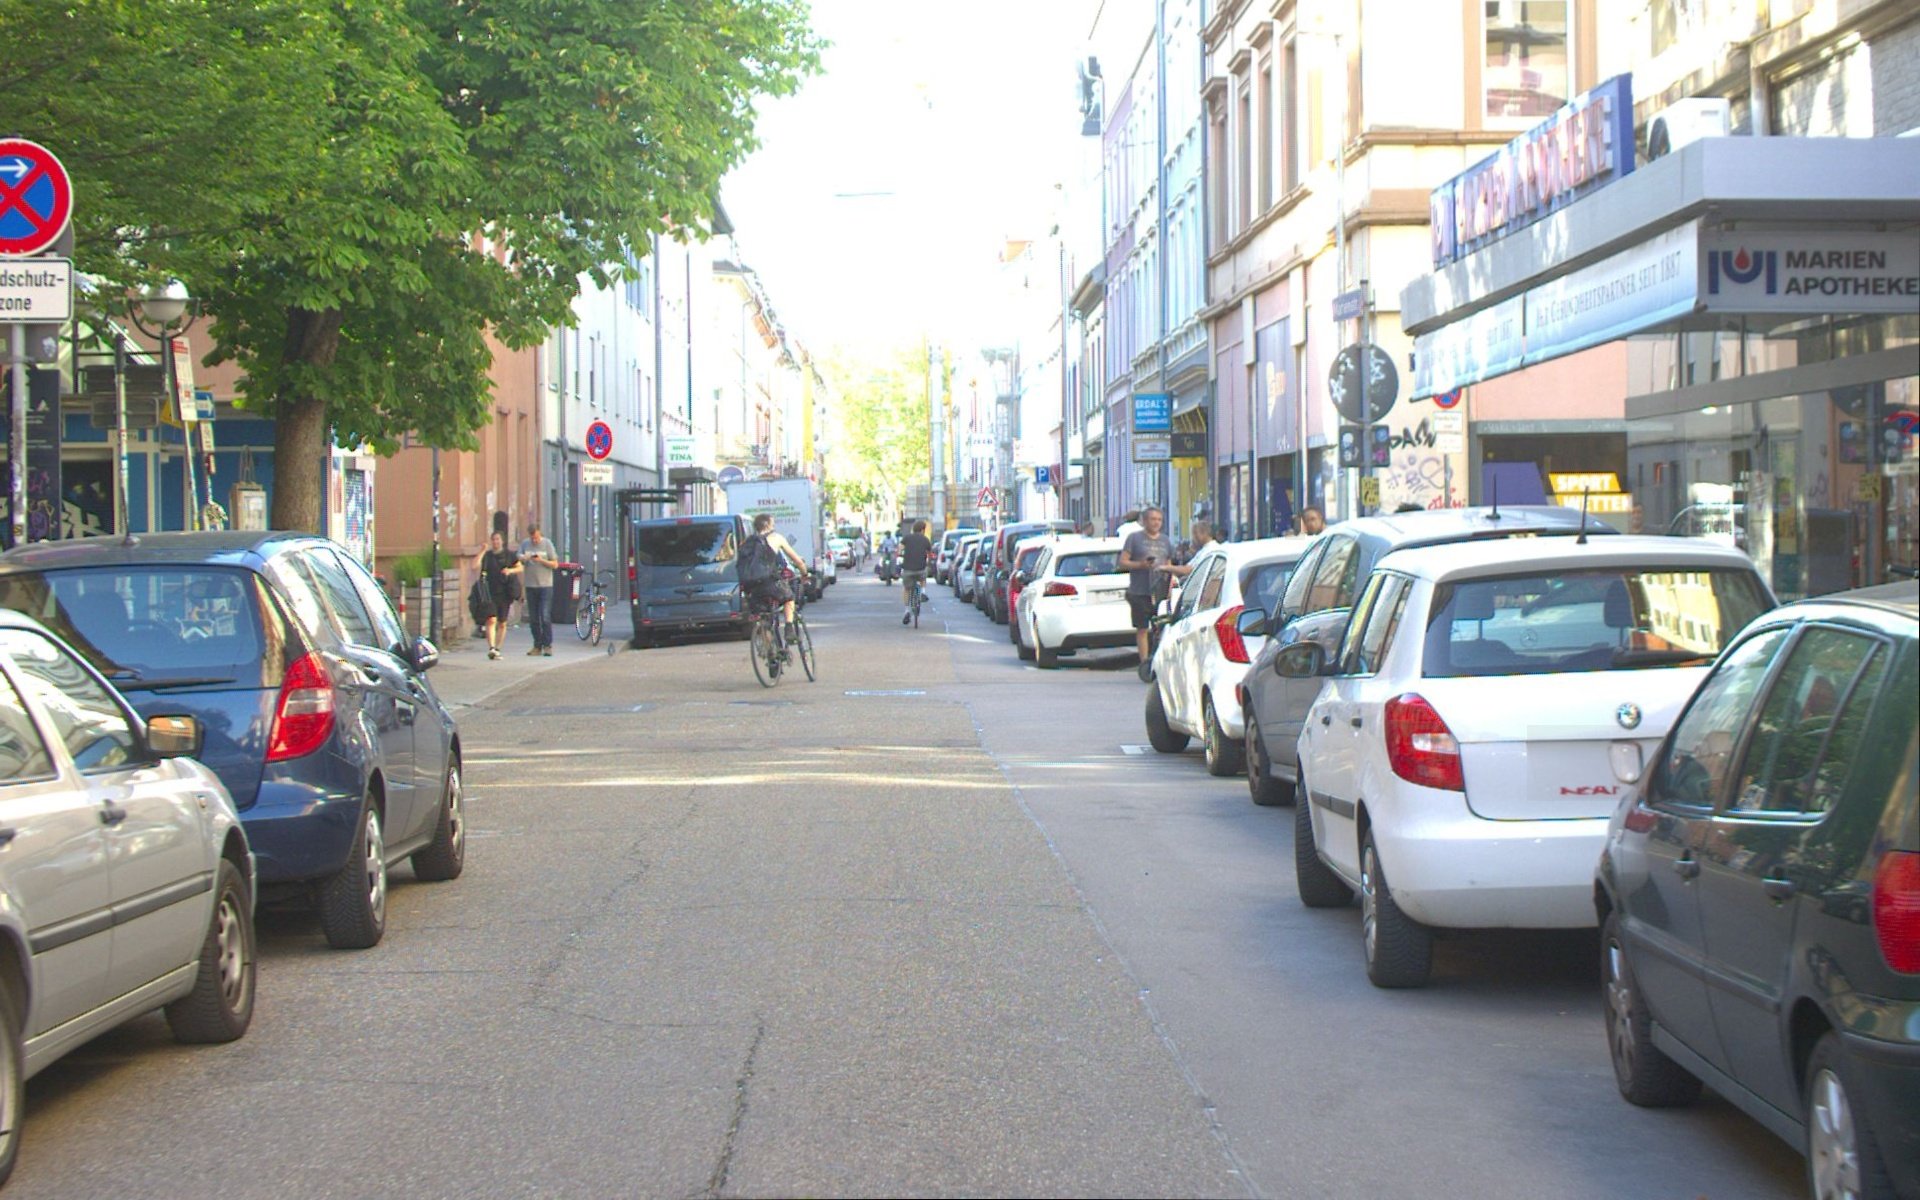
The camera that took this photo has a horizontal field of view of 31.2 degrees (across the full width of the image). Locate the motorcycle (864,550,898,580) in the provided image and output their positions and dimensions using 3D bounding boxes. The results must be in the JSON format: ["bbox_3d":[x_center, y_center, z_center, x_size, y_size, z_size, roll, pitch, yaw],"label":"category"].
[{"bbox_3d":[-2.628,-1.159,114.196,1.042,0.977,2.825,0,1,-3],"label":"motorcycle"}]

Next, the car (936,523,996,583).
[{"bbox_3d":[0.180,-1.611,117.717,1.993,2.007,4.000,0,1,-1],"label":"car"}]

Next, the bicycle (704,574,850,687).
[{"bbox_3d":[-1.867,0.299,35.394,0.766,1.106,1.945,0,1,21],"label":"bicycle"}]

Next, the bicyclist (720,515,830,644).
[{"bbox_3d":[-1.893,-0.221,35.304,0.756,1.302,1.061,0,1,21],"label":"bicyclist"}]

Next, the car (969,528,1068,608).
[{"bbox_3d":[1.246,-0.728,75.351,1.993,1.626,4.000,2,1,-1],"label":"car"}]

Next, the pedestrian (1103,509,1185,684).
[{"bbox_3d":[1.943,-0.043,36.346,0.681,1.837,0.695,0,1,-12],"label":"pedestrian"}]

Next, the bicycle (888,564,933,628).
[{"bbox_3d":[-0.835,-0.077,57.819,0.739,1.040,1.859,0,1,-1],"label":"bicycle"}]

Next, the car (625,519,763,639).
[{"bbox_3d":[-4.090,-0.356,53.371,1.875,1.790,4.000,0,1,-1],"label":"car"}]

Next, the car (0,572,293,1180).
[{"bbox_3d":[-3.033,0.686,9.217,1.570,1.393,3.808,-3,1,2],"label":"car"}]

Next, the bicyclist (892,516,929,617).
[{"bbox_3d":[-0.837,-0.564,57.775,0.605,1.682,0.885,0,1,-1],"label":"bicyclist"}]

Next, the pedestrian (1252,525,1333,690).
[{"bbox_3d":[3.343,0.068,34.552,0.542,1.637,0.607,-1,1,-41],"label":"pedestrian"}]

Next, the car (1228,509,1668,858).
[{"bbox_3d":[2.456,0.359,18.192,1.716,1.640,4.000,0,1,-1],"label":"car"}]

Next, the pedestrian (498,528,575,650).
[{"bbox_3d":[-5.718,-0.151,46.478,0.929,1.631,0.806,0,1,0],"label":"pedestrian"}]

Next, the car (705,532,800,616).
[{"bbox_3d":[-4.508,-0.586,75.269,1.875,1.790,4.000,0,1,-1],"label":"car"}]

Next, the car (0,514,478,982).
[{"bbox_3d":[-3.033,0.502,14.110,1.600,1.608,3.809,-2,1,-1],"label":"car"}]

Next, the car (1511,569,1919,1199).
[{"bbox_3d":[2.371,0.708,7.936,1.569,1.490,3.653,1,1,0],"label":"car"}]

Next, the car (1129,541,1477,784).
[{"bbox_3d":[2.203,0.352,23.029,1.716,1.483,3.870,0,1,-4],"label":"car"}]

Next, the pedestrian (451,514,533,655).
[{"bbox_3d":[-5.946,-0.199,43.697,0.929,1.780,0.806,0,1,0],"label":"pedestrian"}]

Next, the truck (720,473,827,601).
[{"bbox_3d":[-4.924,-1.671,91.661,2.532,3.270,6.995,0,1,-1],"label":"truck"}]

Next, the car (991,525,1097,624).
[{"bbox_3d":[1.493,-0.487,62.075,1.769,1.735,4.000,0,1,-1],"label":"car"}]

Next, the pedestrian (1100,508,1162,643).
[{"bbox_3d":[2.373,-0.344,47.703,0.783,1.837,1.011,1,1,6],"label":"pedestrian"}]

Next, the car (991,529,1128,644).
[{"bbox_3d":[1.450,-0.229,51.616,1.897,1.645,4.000,0,1,-1],"label":"car"}]

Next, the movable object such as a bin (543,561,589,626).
[{"bbox_3d":[-6.952,-0.113,60.616,0.714,1.138,0.583,0,1,3],"label":"movable object such as a bin"}]

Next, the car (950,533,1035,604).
[{"bbox_3d":[0.799,-0.810,86.312,1.993,1.680,4.000,2,1,-1],"label":"car"}]

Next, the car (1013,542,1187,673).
[{"bbox_3d":[1.633,0.052,41.252,1.897,1.483,3.869,0,1,-1],"label":"car"}]

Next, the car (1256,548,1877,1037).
[{"bbox_3d":[2.088,0.579,12.859,1.603,1.499,4.000,1,1,0],"label":"car"}]

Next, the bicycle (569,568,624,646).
[{"bbox_3d":[-5.328,0.088,50.337,0.644,1.105,1.605,0,1,-12],"label":"bicycle"}]

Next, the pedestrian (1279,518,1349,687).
[{"bbox_3d":[3.463,0.015,33.643,0.456,1.637,0.502,-1,1,-41],"label":"pedestrian"}]

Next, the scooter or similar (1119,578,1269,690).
[{"bbox_3d":[2.408,0.348,35.315,1.530,1.135,0.601,0,1,5],"label":"scooter or similar"}]

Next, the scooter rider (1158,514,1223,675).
[{"bbox_3d":[2.364,-0.059,35.308,0.650,1.637,0.683,0,1,3],"label":"scooter rider"}]

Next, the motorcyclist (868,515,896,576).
[{"bbox_3d":[-2.580,-1.808,114.121,0.902,2.007,1.190,0,1,-3],"label":"motorcyclist"}]
